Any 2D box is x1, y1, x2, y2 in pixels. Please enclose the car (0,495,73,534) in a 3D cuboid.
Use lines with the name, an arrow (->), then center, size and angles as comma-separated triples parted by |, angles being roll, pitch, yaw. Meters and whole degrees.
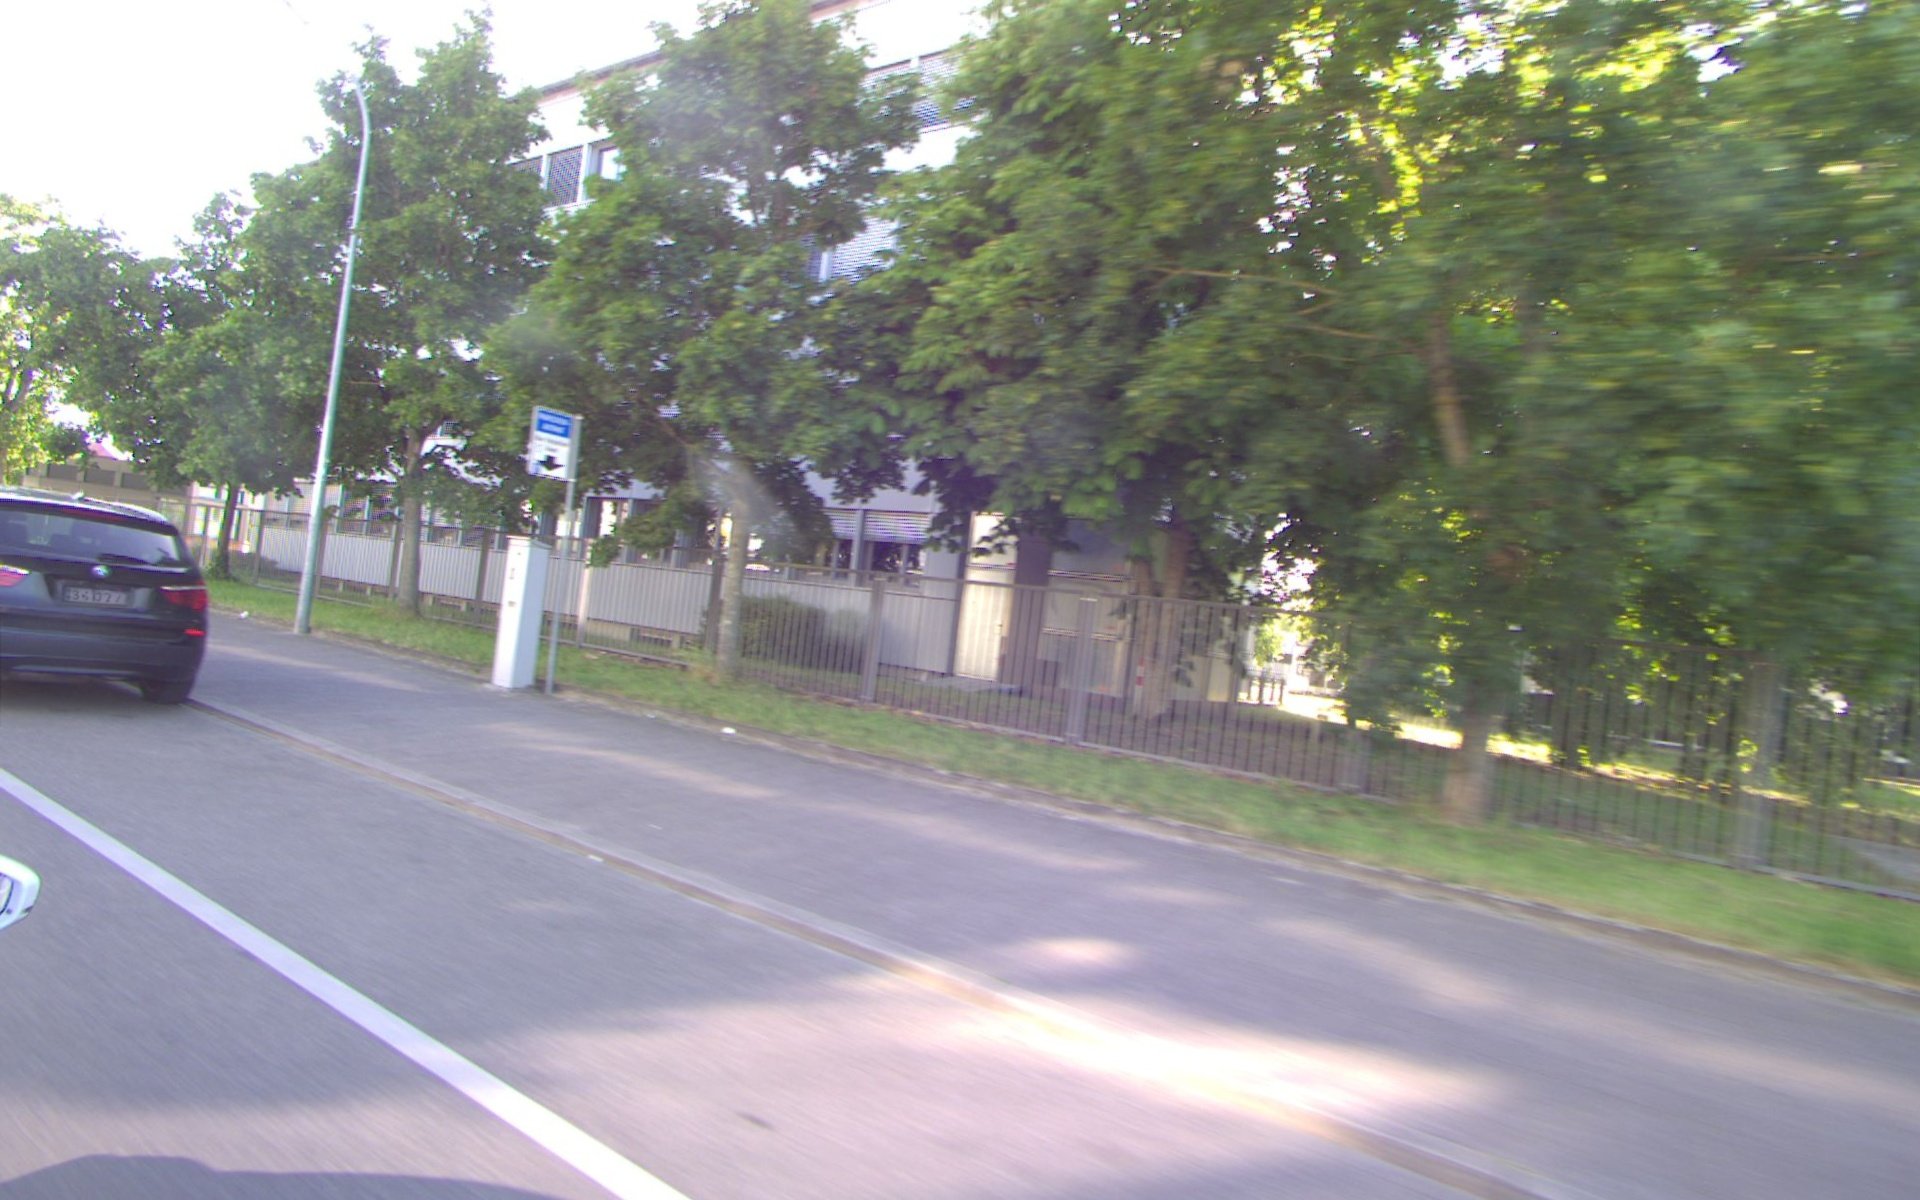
car -> -65.539, -6.045, 70.906 | 1.966, 2.037, 3.997 | 5, -3, 29

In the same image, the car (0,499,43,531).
car -> -73.137, -6.633, 76.848 | 1.967, 2.037, 3.995 | 5, -3, 31

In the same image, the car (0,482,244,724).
car -> -8.348, -0.156, 8.788 | 4.519, 1.685, 1.815 | 7, -2, 35
